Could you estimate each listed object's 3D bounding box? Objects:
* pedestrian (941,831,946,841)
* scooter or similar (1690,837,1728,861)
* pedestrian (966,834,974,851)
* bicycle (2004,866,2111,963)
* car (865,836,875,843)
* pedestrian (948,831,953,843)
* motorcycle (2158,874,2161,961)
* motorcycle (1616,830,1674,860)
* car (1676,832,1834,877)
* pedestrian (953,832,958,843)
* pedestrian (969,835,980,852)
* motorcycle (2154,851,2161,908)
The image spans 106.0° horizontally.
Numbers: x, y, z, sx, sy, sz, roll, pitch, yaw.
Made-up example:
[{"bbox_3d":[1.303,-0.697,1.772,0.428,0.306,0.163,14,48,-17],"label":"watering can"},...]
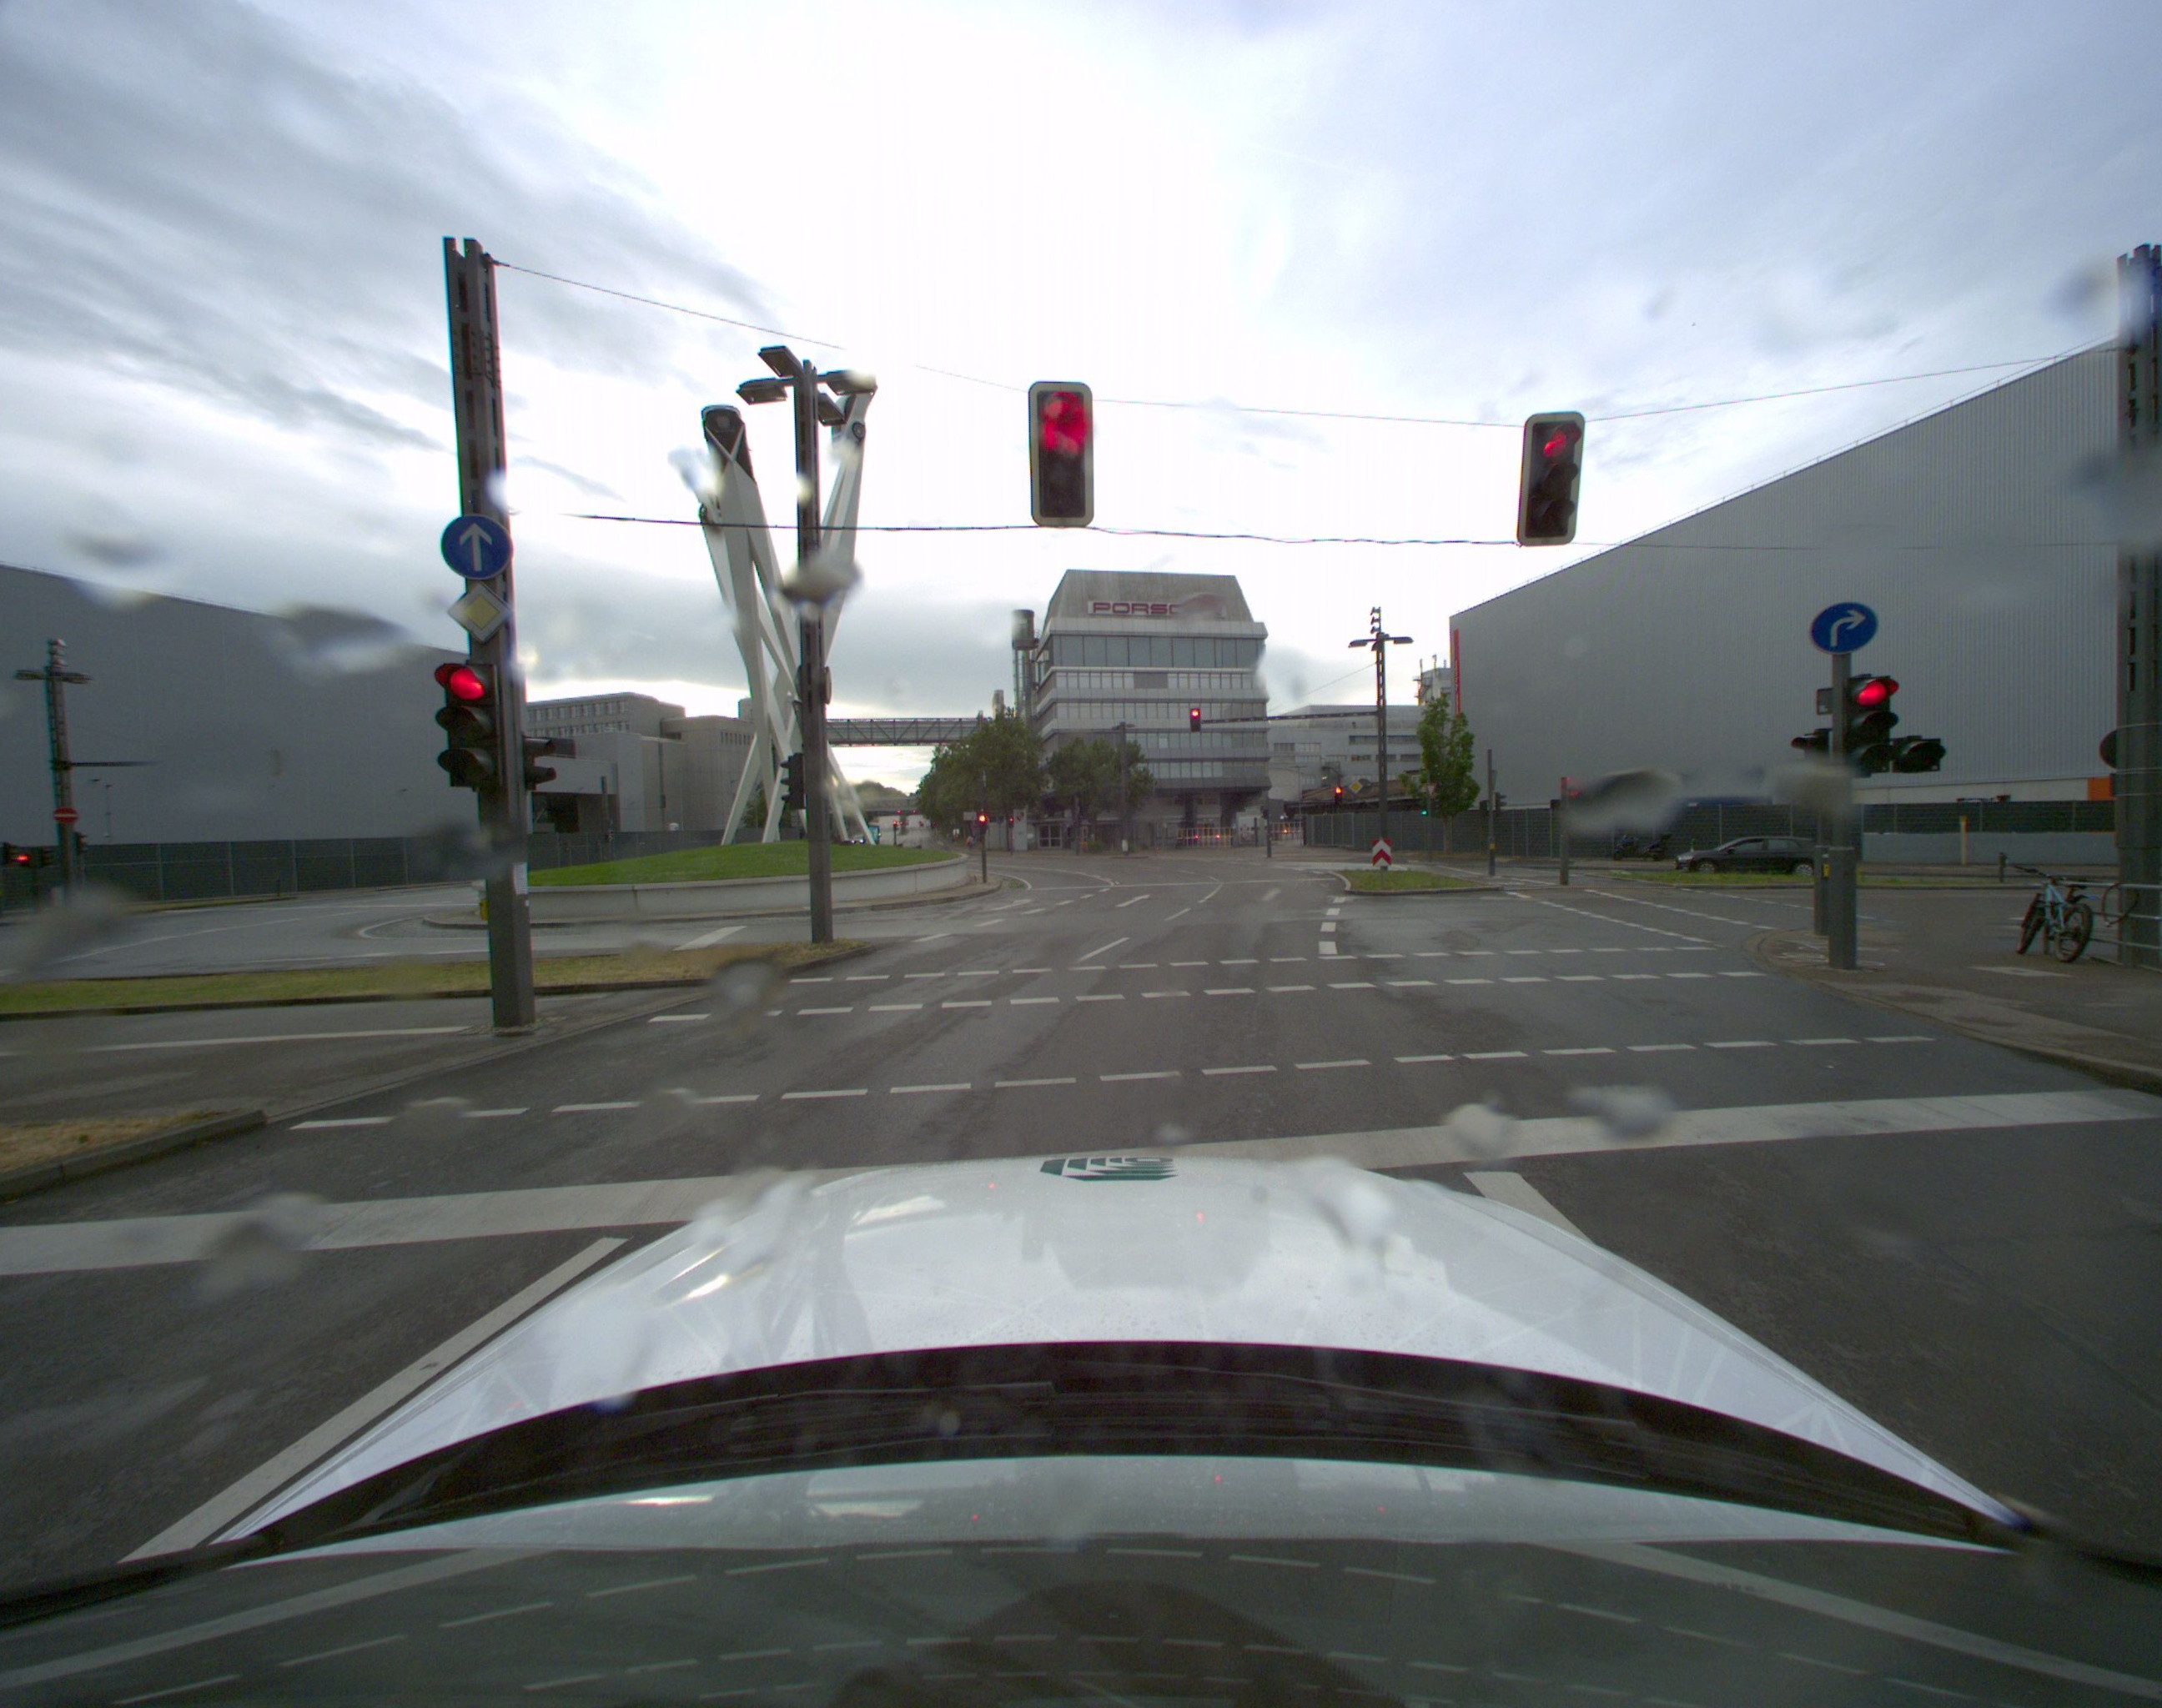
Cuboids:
[{"bbox_3d":[-28.172,-3.686,166.940,0.761,2.013,0.693,-1,1,5],"label":"pedestrian"},{"bbox_3d":[27.482,-0.217,35.658,0.387,1.028,1.259,-2,2,-29],"label":"scooter or similar"},{"bbox_3d":[-10.800,-1.122,79.291,0.708,1.591,0.839,-2,2,-7],"label":"pedestrian"},{"bbox_3d":[12.565,0.728,10.533,0.416,1.130,2.086,-1,-1,37],"label":"bicycle"},{"bbox_3d":[-44.236,-3.050,170.735,1.784,1.439,4.379,-2,2,-12],"label":"car"},{"bbox_3d":[-20.113,-2.600,125.818,0.712,1.740,0.757,0,-1,-12],"label":"pedestrian"},{"bbox_3d":[15.172,0.821,10.289,2.074,1.145,0.490,0,-1,11],"label":"motorcycle"},{"bbox_3d":[25.575,-0.409,36.958,2.074,1.310,0.659,0,2,27],"label":"motorcycle"},{"bbox_3d":[22.842,-0.012,27.813,3.949,1.425,1.732,0,1,31],"label":"car"},{"bbox_3d":[-20.173,-2.690,130.953,0.757,1.740,0.712,0,-1,-8],"label":"pedestrian"},{"bbox_3d":[-10.216,-1.012,77.959,0.834,1.520,0.836,-3,2,-20],"label":"pedestrian"},{"bbox_3d":[23.718,0.520,16.716,2.242,1.192,0.452,-1,1,15],"label":"motorcycle"}]
